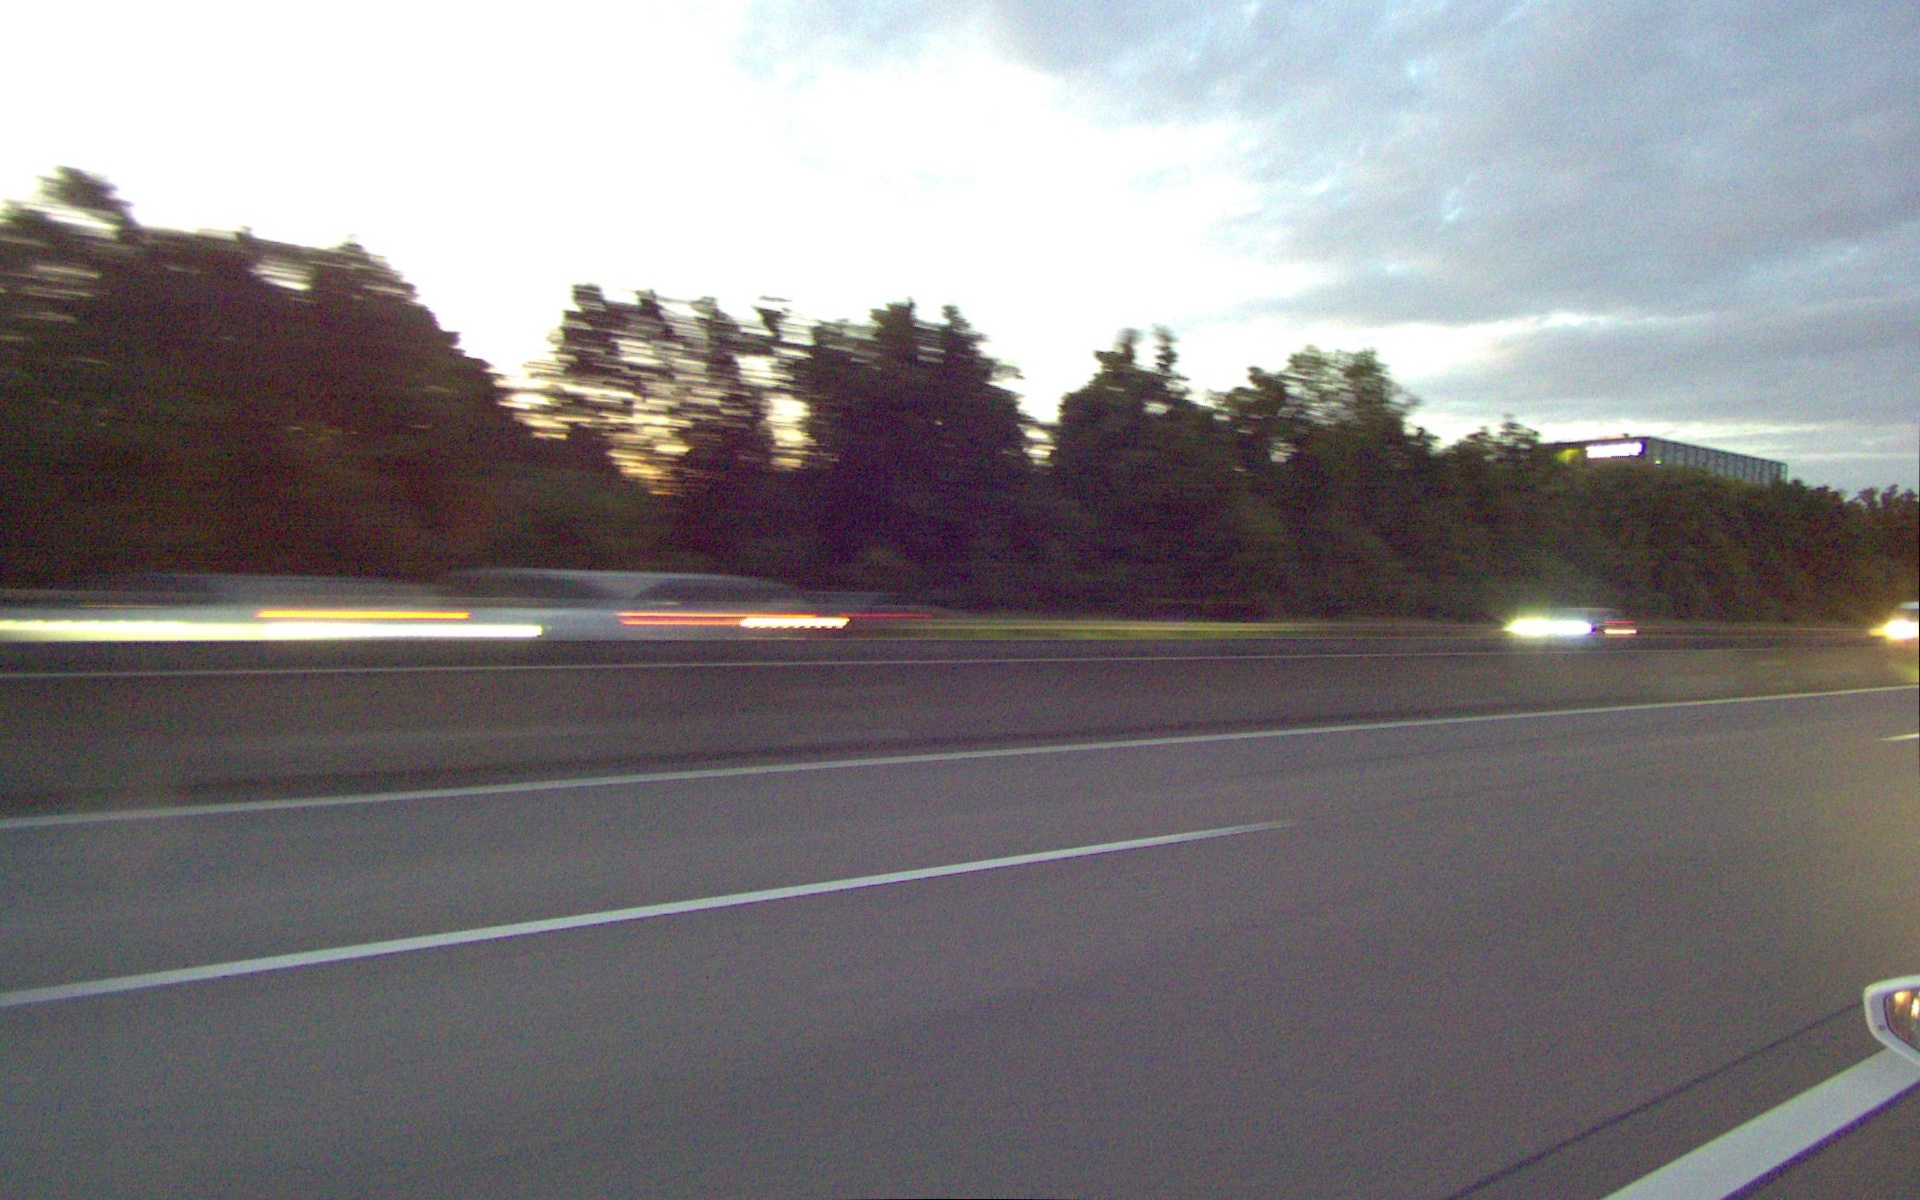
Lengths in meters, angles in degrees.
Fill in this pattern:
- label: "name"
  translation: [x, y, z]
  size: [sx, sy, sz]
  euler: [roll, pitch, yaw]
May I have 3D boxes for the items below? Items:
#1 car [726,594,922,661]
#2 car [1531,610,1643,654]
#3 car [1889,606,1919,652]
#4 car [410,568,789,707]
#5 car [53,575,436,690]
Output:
- label: "car"
  translation: [-3.231, 0.657, 24.026]
  size: [4.187, 1.479, 1.984]
  euler: [2, 0, -30]
- label: "car"
  translation: [26.346, 1.362, 42.166]
  size: [4.913, 1.716, 1.983]
  euler: [2, 0, -31]
- label: "car"
  translation: [54.129, 1.655, 55.416]
  size: [7.013, 2.464, 2.314]
  euler: [2, 0, -31]
- label: "car"
  translation: [-5.252, 0.533, 14.841]
  size: [4.992, 1.758, 1.984]
  euler: [2, 0, -30]
- label: "car"
  translation: [-10.635, 0.489, 15.411]
  size: [4.505, 1.525, 1.984]
  euler: [2, 0, -30]
